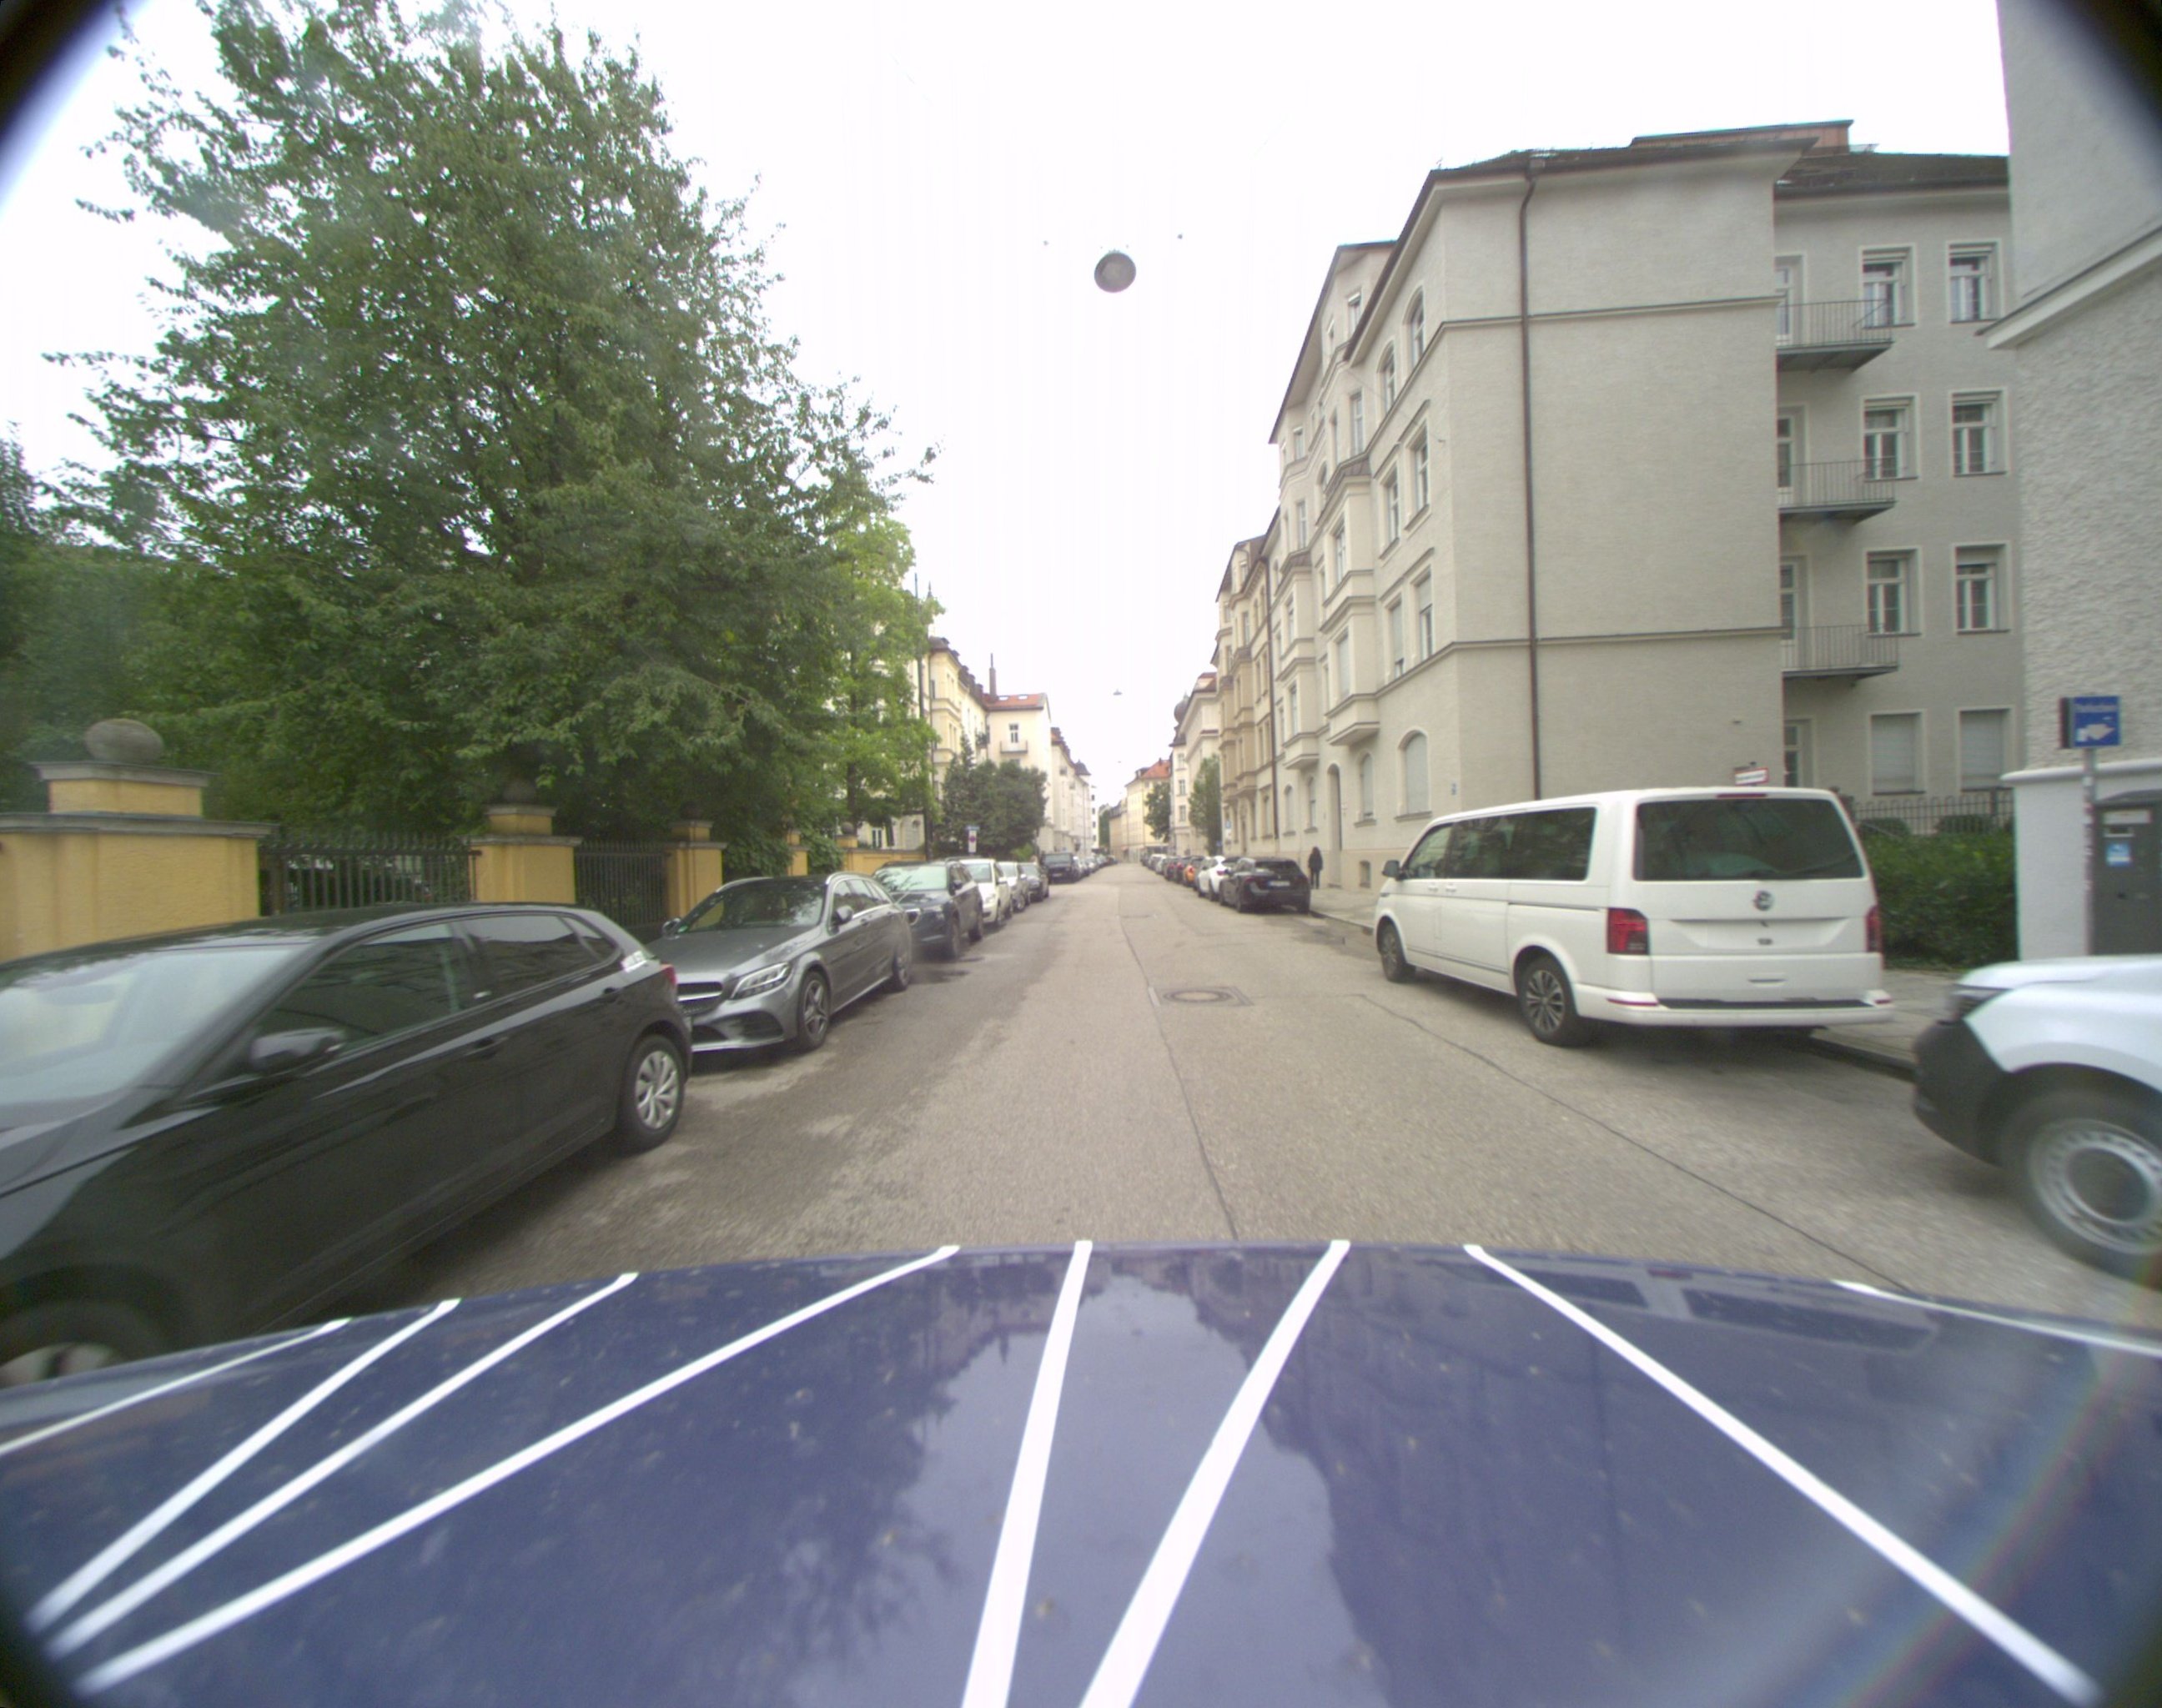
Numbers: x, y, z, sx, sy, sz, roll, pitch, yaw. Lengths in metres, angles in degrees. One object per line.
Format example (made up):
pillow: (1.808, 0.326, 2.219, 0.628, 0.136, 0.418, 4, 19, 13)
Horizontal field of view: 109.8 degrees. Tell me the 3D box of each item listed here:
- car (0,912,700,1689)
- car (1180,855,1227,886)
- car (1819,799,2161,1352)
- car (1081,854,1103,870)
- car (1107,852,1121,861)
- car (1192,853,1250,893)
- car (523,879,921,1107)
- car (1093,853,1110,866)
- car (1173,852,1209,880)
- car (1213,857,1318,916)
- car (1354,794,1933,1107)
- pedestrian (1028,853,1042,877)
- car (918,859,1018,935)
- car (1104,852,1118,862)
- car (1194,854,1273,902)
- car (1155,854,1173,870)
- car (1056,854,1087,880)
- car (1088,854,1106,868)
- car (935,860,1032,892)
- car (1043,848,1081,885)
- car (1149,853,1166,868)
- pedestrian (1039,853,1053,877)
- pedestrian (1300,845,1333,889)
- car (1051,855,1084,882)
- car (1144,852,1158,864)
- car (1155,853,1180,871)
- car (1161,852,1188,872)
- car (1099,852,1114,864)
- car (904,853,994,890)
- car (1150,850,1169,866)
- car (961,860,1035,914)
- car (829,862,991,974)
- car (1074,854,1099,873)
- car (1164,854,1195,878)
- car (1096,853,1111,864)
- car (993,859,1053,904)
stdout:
car: (-3.177, 1.115, 2.536, 1.696, 1.406, 4.036, -4, 0, 0)
car: (5.763, 0.748, 36.054, 1.809, 1.355, 3.730, -1, 0, 3)
car: (4.331, 0.703, 1.056, 1.751, 1.778, 5.036, -1, 0, 0)
car: (1.222, 0.833, 84.481, 1.998, 1.585, 4.300, -5, 0, 5)
car: (6.312, 0.436, 142.923, 1.997, 1.585, 4.301, -5, 0, 9)
car: (5.515, 0.715, 30.344, 1.809, 1.455, 3.938, -1, 0, 3)
car: (-3.014, 1.064, 7.621, 1.696, 1.406, 4.516, -2, 0, 2)
car: (2.953, 0.753, 109.140, 1.998, 1.585, 4.300, -5, 0, 5)
car: (5.880, 0.617, 40.979, 1.626, 1.447, 3.942, -1, 0, 4)
car: (4.880, 0.795, 20.738, 1.860, 1.404, 4.379, 0, 0, 1)
car: (4.401, 0.600, 7.217, 1.860, 1.927, 4.957, -1, 0, 0)
pedestrian: (-3.423, 0.818, 56.511, 0.876, 1.680, 1.052, -2, 1, 2)
car: (-2.669, 0.961, 18.860, 1.717, 1.561, 4.320, -2, 0, 1)
car: (5.327, 0.441, 134.095, 1.997, 1.585, 4.301, -5, 0, 8)
car: (5.055, 0.752, 25.794, 1.860, 1.455, 4.379, -1, 0, 1)
car: (7.826, 0.733, 71.742, 1.626, 1.421, 3.690, -1, 0, 4)
car: (-0.663, 0.931, 56.490, 1.998, 1.643, 4.449, -5, 0, 1)
car: (2.073, 0.853, 98.441, 1.998, 1.585, 4.300, -5, 0, 5)
car: (-4.844, 1.073, 38.105, 4.578, 1.405, 1.793, -2, 0, 1)
car: (-1.101, 0.730, 46.311, 1.998, 1.949, 4.433, -5, 0, 1)
car: (8.230, 0.656, 81.961, 1.626, 1.522, 3.921, -1, 0, 2)
pedestrian: (-2.598, 0.801, 56.371, 0.876, 1.745, 1.052, -2, 1, 2)
pedestrian: (8.803, 0.475, 28.407, 0.876, 1.599, 1.052, -2, 1, 2)
car: (-0.870, 0.967, 51.322, 1.998, 1.585, 3.855, -5, 0, 1)
car: (9.479, 0.507, 103.107, 1.626, 1.522, 3.921, -1, 0, 2)
car: (6.956, 0.616, 61.240, 1.627, 1.421, 3.689, -1, 0, 1)
car: (6.944, 0.567, 56.699, 1.627, 1.421, 3.689, -1, 0, 1)
car: (4.211, 0.631, 123.830, 1.998, 1.672, 4.301, -5, 0, 6)
car: (-7.255, 0.969, 41.983, 4.677, 1.860, 1.743, -2, -2, -3)
car: (7.889, 0.390, 76.525, 1.626, 1.522, 3.690, -1, 0, 2)
car: (-2.482, 0.945, 23.543, 1.717, 1.445, 4.184, -2, 0, 1)
car: (-2.804, 0.969, 13.582, 1.717, 1.561, 4.691, -2, 0, 1)
car: (0.579, 0.903, 73.622, 1.998, 1.585, 4.300, -5, 0, 5)
car: (6.010, 0.705, 46.636, 1.626, 1.421, 3.942, -1, 0, 4)
car: (3.494, 0.698, 118.725, 1.998, 1.585, 4.300, -5, 0, 5)
car: (-2.087, 0.975, 28.510, 1.717, 1.445, 4.955, -2, 0, 1)
